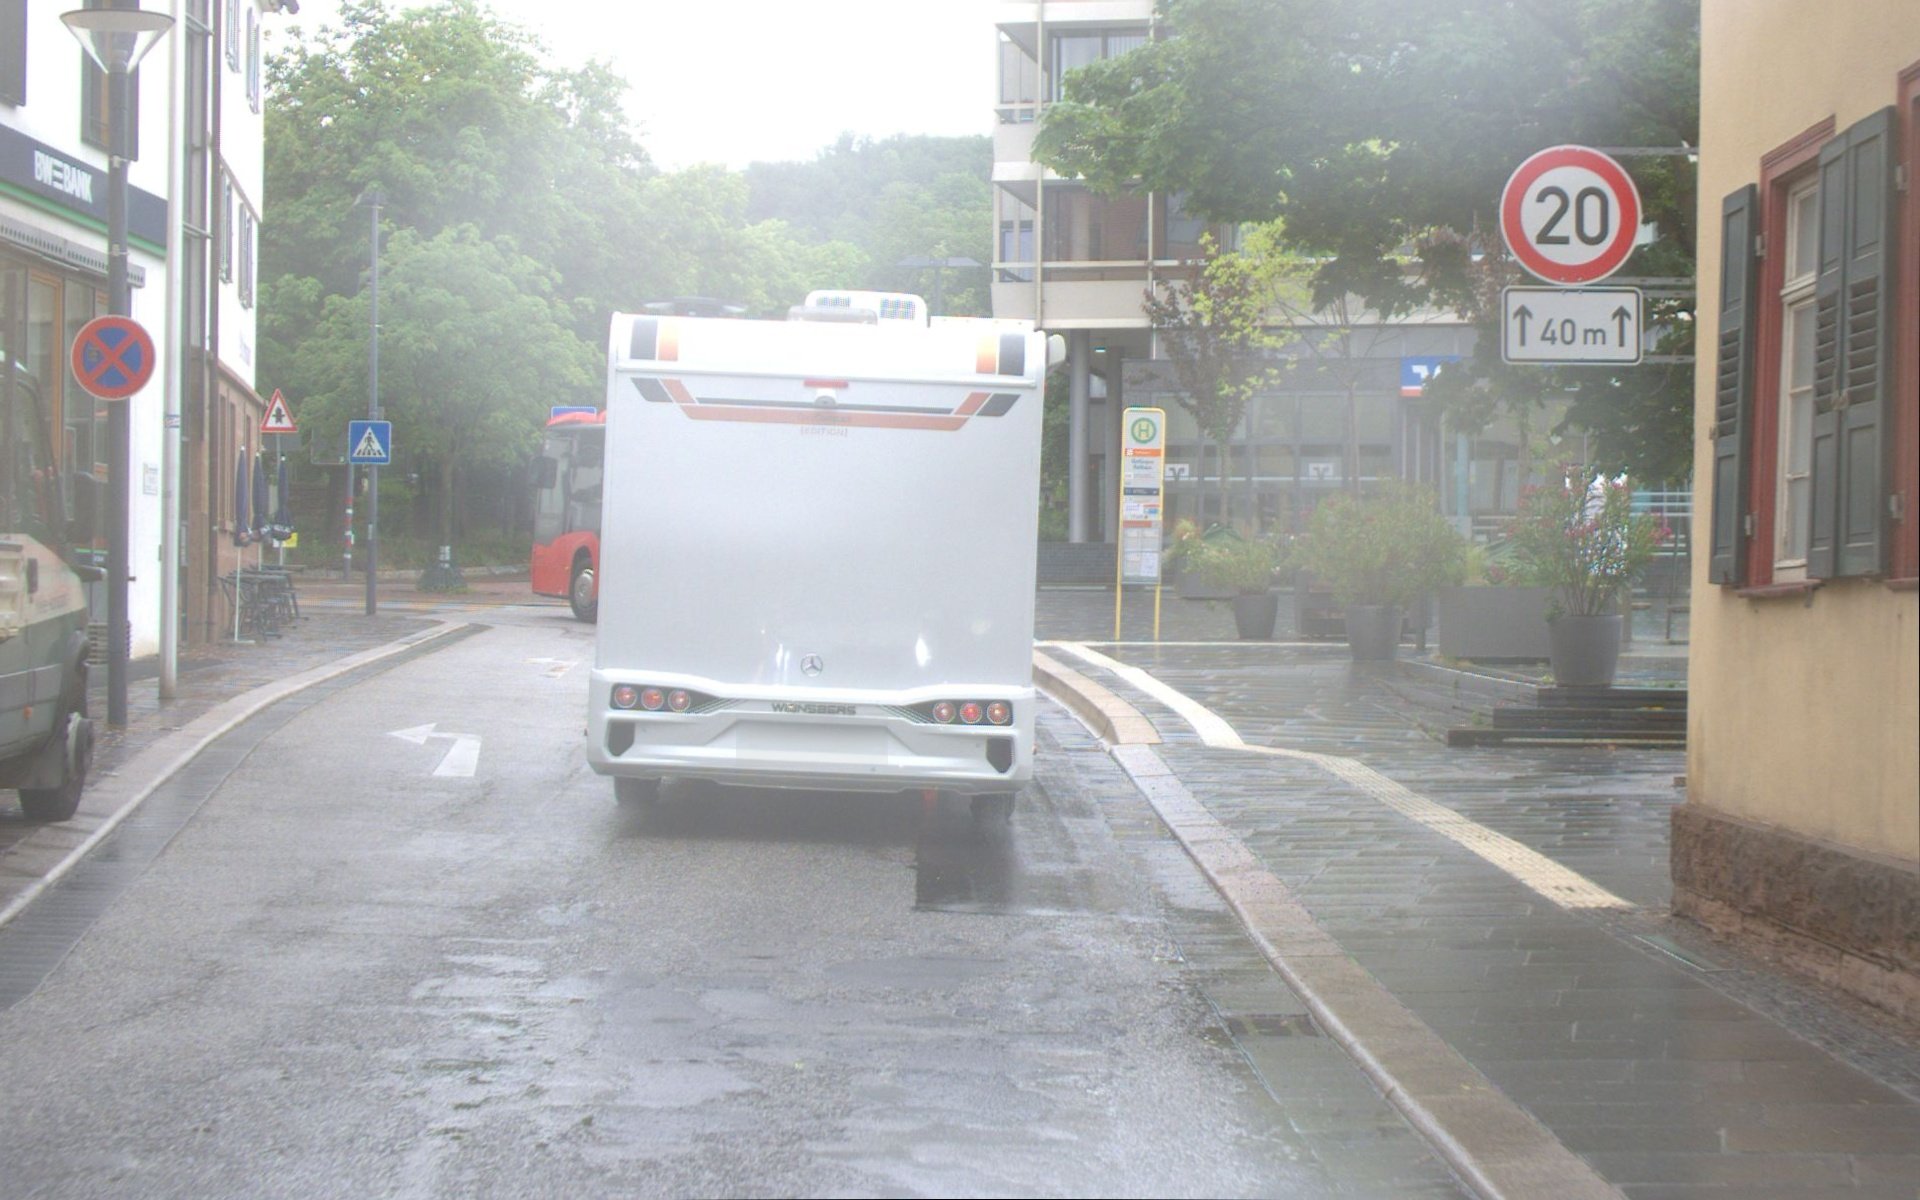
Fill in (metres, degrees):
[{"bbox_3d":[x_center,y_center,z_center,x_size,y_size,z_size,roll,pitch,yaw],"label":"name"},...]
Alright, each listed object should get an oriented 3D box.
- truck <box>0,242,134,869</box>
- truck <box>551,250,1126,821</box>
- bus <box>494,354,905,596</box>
[{"bbox_3d":[-5.174,-0.205,14.351,2.399,2.585,6.485,1,3,-5],"label":"truck"},{"bbox_3d":[-0.847,-0.353,19.954,2.805,2.787,6.108,0,0,-5],"label":"truck"},{"bbox_3d":[-4.020,-1.664,49.823,3.023,3.135,10.150,-1,1,-22],"label":"bus"}]
